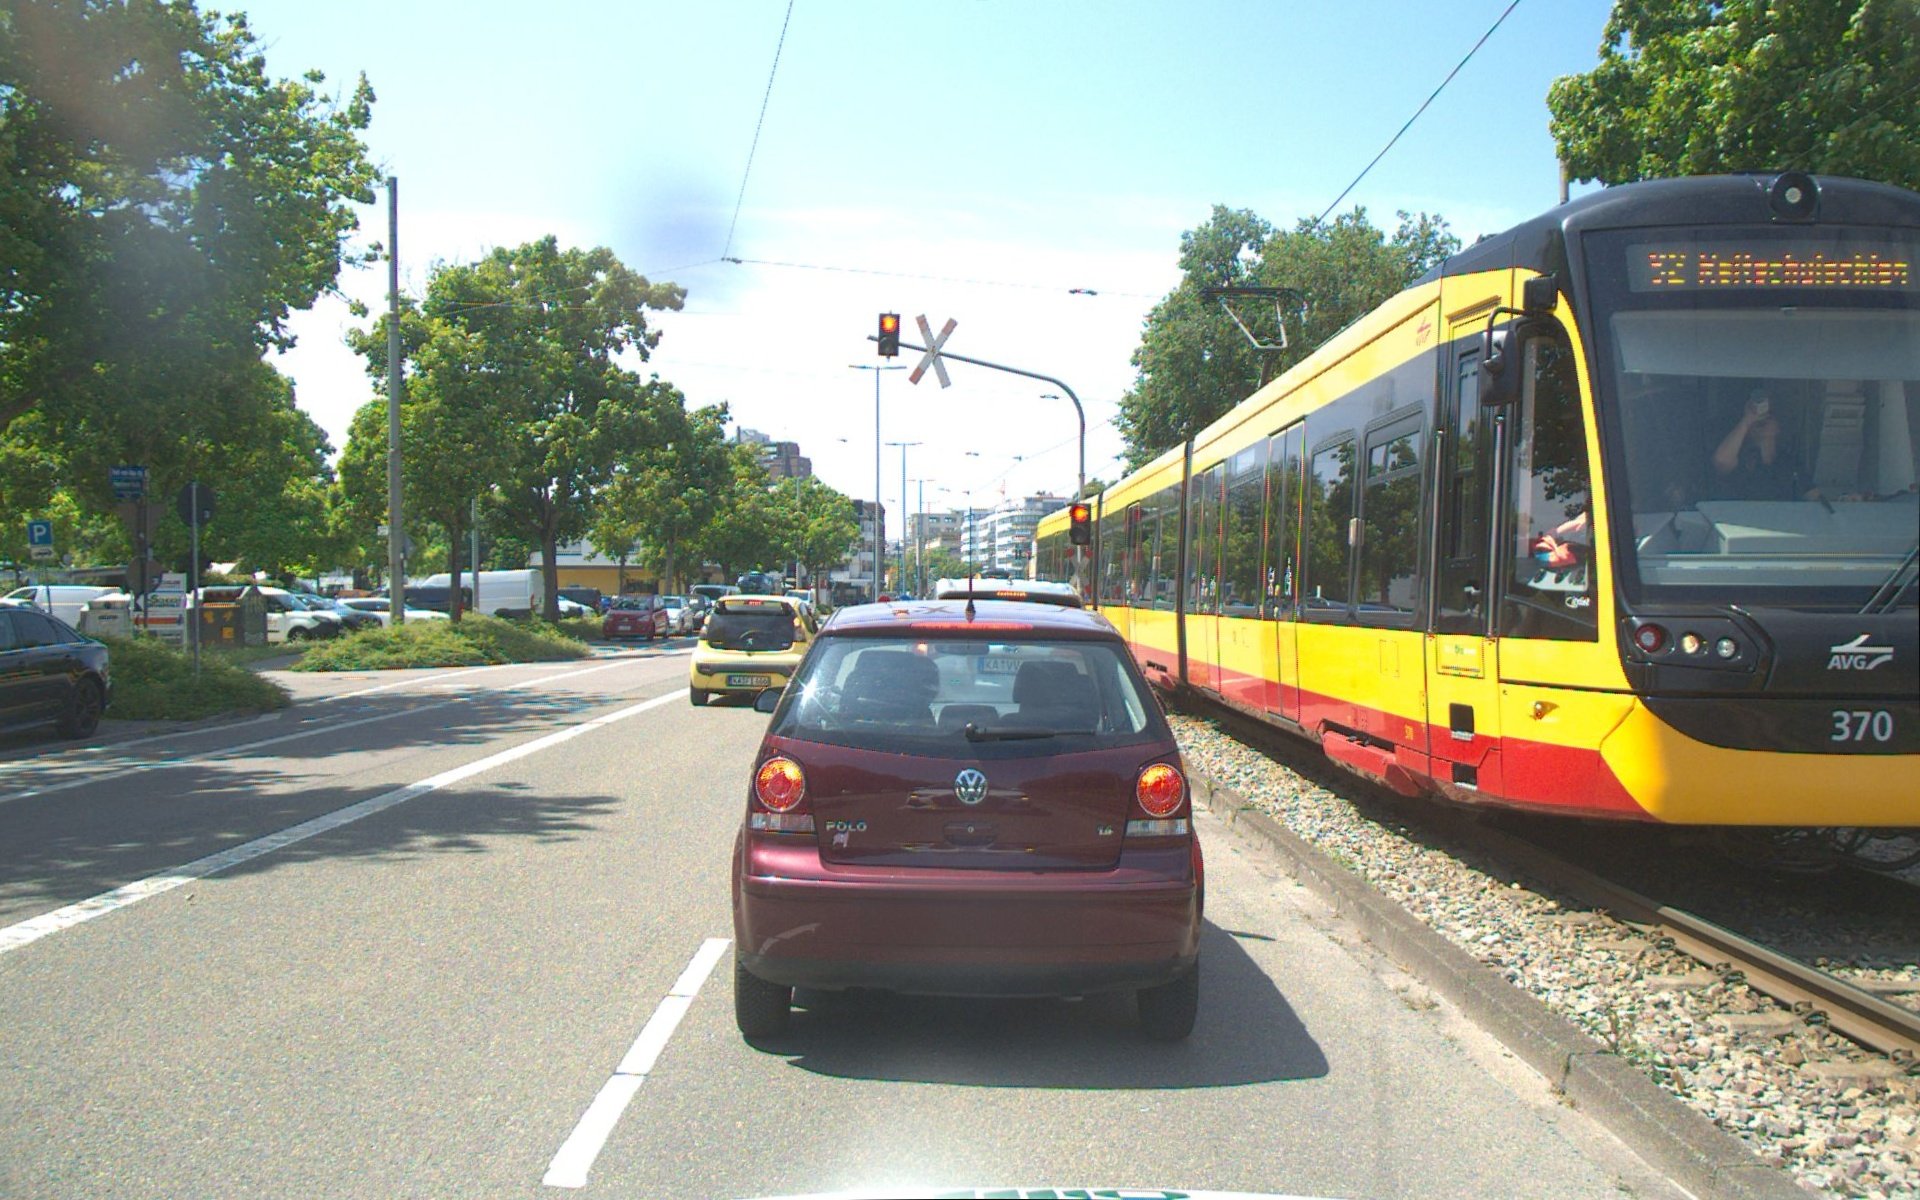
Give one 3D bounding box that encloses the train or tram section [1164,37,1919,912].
[{"bbox_3d":[3.875,-0.556,13.487,2.685,3.672,12.869,2,0,0],"label":"train or tram section"}]
